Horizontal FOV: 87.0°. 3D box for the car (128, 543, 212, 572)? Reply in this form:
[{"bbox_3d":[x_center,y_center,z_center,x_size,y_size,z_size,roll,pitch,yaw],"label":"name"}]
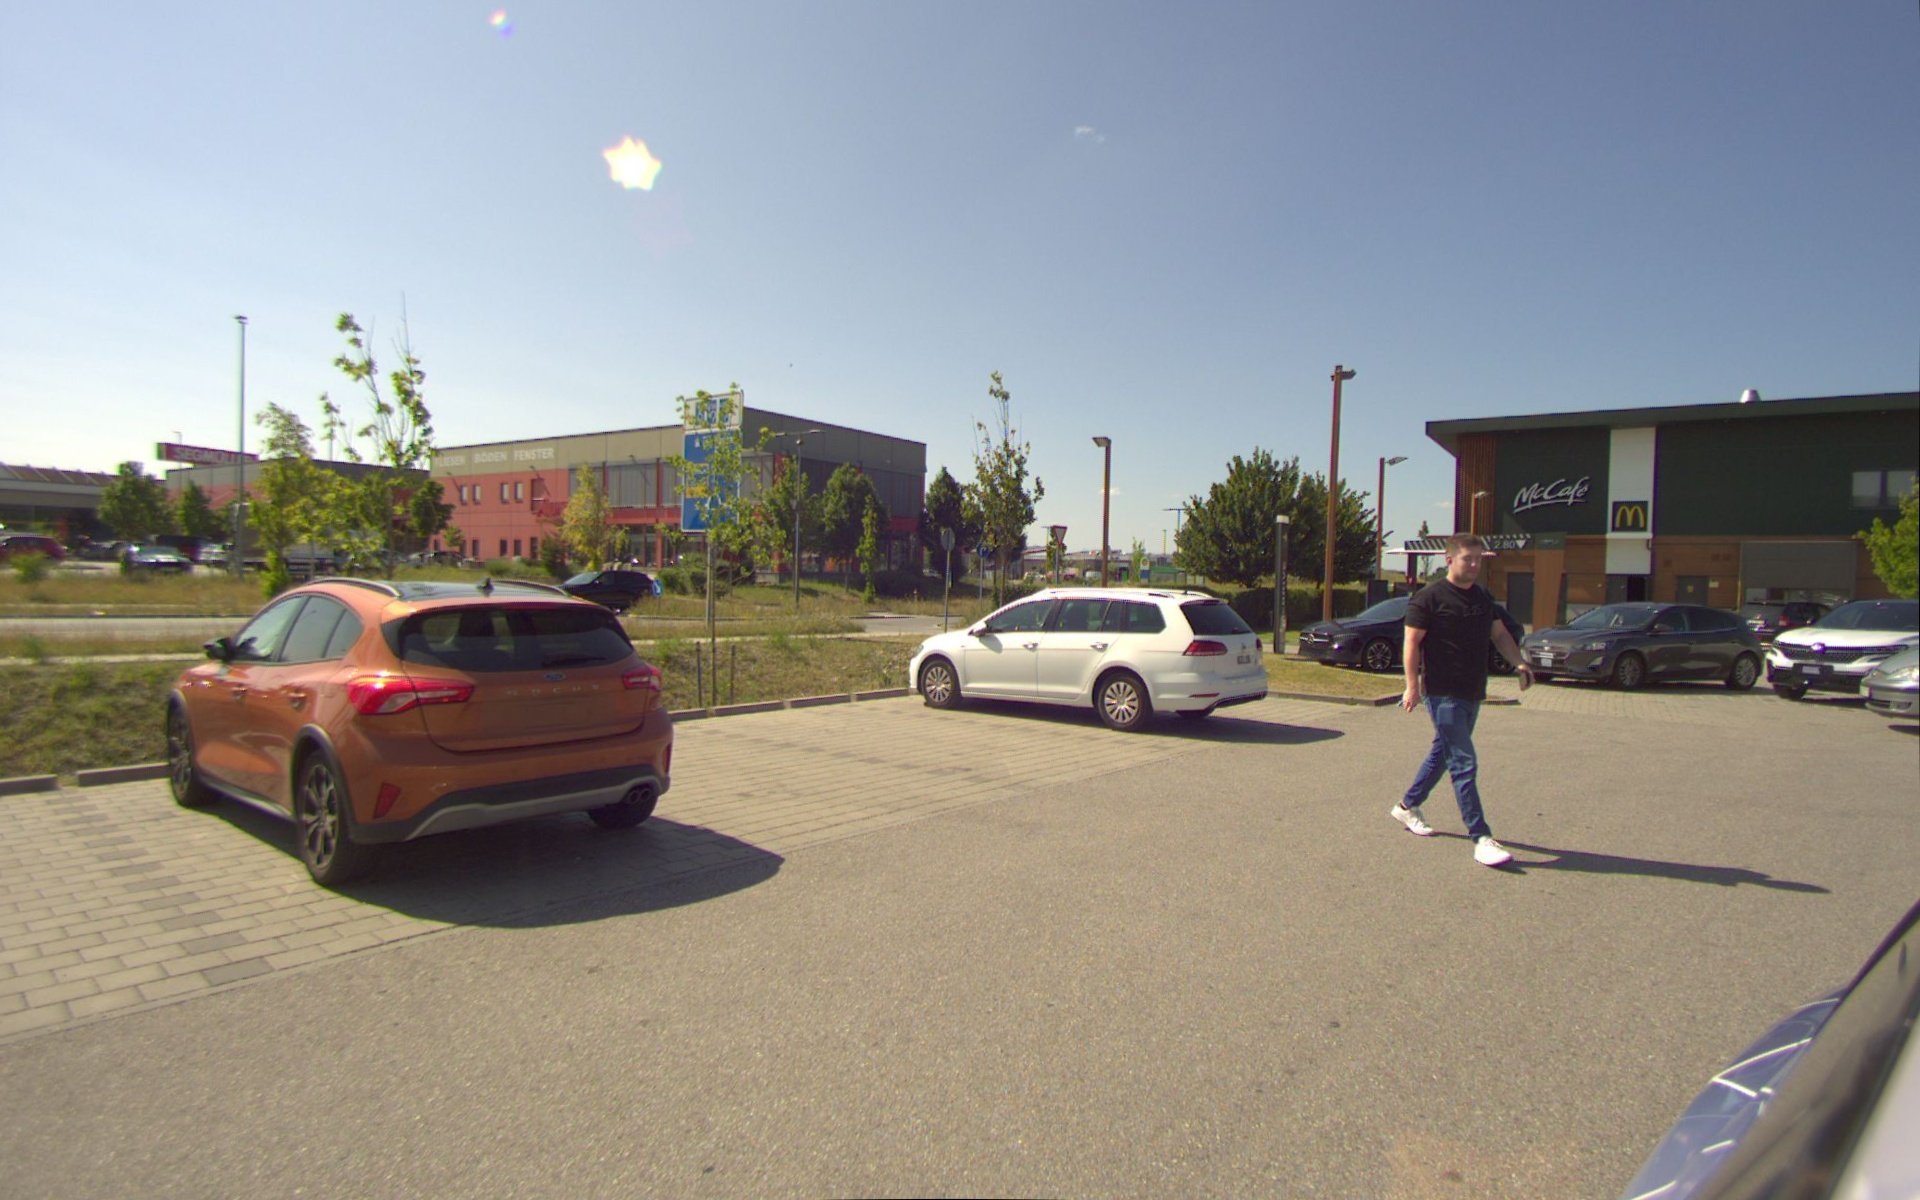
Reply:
[{"bbox_3d":[-56.494,-3.007,72.472,1.942,1.878,4.351,2,1,33],"label":"car"}]

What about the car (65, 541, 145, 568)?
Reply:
[{"bbox_3d":[-65.427,-3.495,77.489,1.942,1.878,4.351,2,1,33],"label":"car"}]

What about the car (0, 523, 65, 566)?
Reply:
[{"bbox_3d":[-44.844,-2.628,47.258,1.857,1.879,4.216,2,1,33],"label":"car"}]

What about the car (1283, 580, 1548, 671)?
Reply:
[{"bbox_3d":[8.682,0.465,19.446,4.242,1.545,1.980,2,1,-12],"label":"car"}]

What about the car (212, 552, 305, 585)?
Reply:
[{"bbox_3d":[-43.616,-1.937,63.021,1.942,1.878,4.351,2,1,33],"label":"car"}]

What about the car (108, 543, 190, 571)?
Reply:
[{"bbox_3d":[-60.052,-3.159,75.009,1.942,1.878,4.351,2,1,33],"label":"car"}]

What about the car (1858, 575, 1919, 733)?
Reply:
[{"bbox_3d":[13.040,0.666,10.983,4.651,1.770,1.811,2,1,34],"label":"car"}]

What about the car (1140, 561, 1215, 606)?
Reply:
[{"bbox_3d":[11.406,-0.821,52.810,1.987,2.224,5.042,2,1,34],"label":"car"}]

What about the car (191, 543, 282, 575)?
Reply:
[{"bbox_3d":[-46.757,-2.632,65.484,2.034,1.878,4.351,2,1,33],"label":"car"}]

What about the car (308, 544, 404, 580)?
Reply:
[{"bbox_3d":[-34.915,-2.183,58.574,1.942,1.878,4.351,2,1,33],"label":"car"}]

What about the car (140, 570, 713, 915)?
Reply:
[{"bbox_3d":[-3.620,0.582,6.474,4.334,1.487,1.806,1,1,41],"label":"car"}]

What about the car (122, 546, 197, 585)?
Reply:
[{"bbox_3d":[-33.222,-1.444,41.969,3.947,1.478,1.632,2,1,39],"label":"car"}]

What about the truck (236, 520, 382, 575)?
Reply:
[{"bbox_3d":[-37.901,-3.013,59.178,1.942,2.849,6.973,2,1,33],"label":"truck"}]

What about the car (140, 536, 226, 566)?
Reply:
[{"bbox_3d":[-53.789,-3.384,70.118,1.942,1.878,4.351,2,1,33],"label":"car"}]

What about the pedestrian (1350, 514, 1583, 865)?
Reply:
[{"bbox_3d":[2.884,0.464,5.850,0.711,1.832,0.996,0,0,-14],"label":"pedestrian"}]

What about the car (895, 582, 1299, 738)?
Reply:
[{"bbox_3d":[1.454,0.543,11.869,4.462,1.487,1.806,1,1,41],"label":"car"}]

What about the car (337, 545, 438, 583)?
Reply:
[{"bbox_3d":[-31.139,-1.938,55.142,1.942,1.878,4.351,2,1,33],"label":"car"}]

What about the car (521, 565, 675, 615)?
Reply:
[{"bbox_3d":[-12.815,-0.337,35.995,4.721,1.645,1.998,1,1,-41],"label":"car"}]

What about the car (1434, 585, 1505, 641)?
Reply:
[{"bbox_3d":[17.386,0.381,34.438,1.980,1.712,4.193,3,2,29],"label":"car"}]

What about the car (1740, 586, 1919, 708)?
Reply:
[{"bbox_3d":[14.554,0.692,15.623,4.118,1.675,1.980,2,1,-18],"label":"car"}]

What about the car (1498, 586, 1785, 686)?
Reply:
[{"bbox_3d":[11.705,0.605,17.440,4.118,1.545,1.980,2,1,-19],"label":"car"}]

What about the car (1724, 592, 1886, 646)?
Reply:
[{"bbox_3d":[27.715,0.611,33.225,4.373,1.622,1.967,2,1,-17],"label":"car"}]

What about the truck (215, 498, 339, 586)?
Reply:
[{"bbox_3d":[-30.240,-2.512,44.712,6.801,3.524,2.729,2,1,40],"label":"truck"}]

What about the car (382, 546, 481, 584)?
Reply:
[{"bbox_3d":[-28.363,-1.839,54.421,1.942,1.878,4.351,2,1,33],"label":"car"}]

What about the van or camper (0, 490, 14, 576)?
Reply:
[{"bbox_3d":[-38.520,-2.517,35.117,7.886,3.140,2.424,1,1,-23],"label":"van or camper"}]
